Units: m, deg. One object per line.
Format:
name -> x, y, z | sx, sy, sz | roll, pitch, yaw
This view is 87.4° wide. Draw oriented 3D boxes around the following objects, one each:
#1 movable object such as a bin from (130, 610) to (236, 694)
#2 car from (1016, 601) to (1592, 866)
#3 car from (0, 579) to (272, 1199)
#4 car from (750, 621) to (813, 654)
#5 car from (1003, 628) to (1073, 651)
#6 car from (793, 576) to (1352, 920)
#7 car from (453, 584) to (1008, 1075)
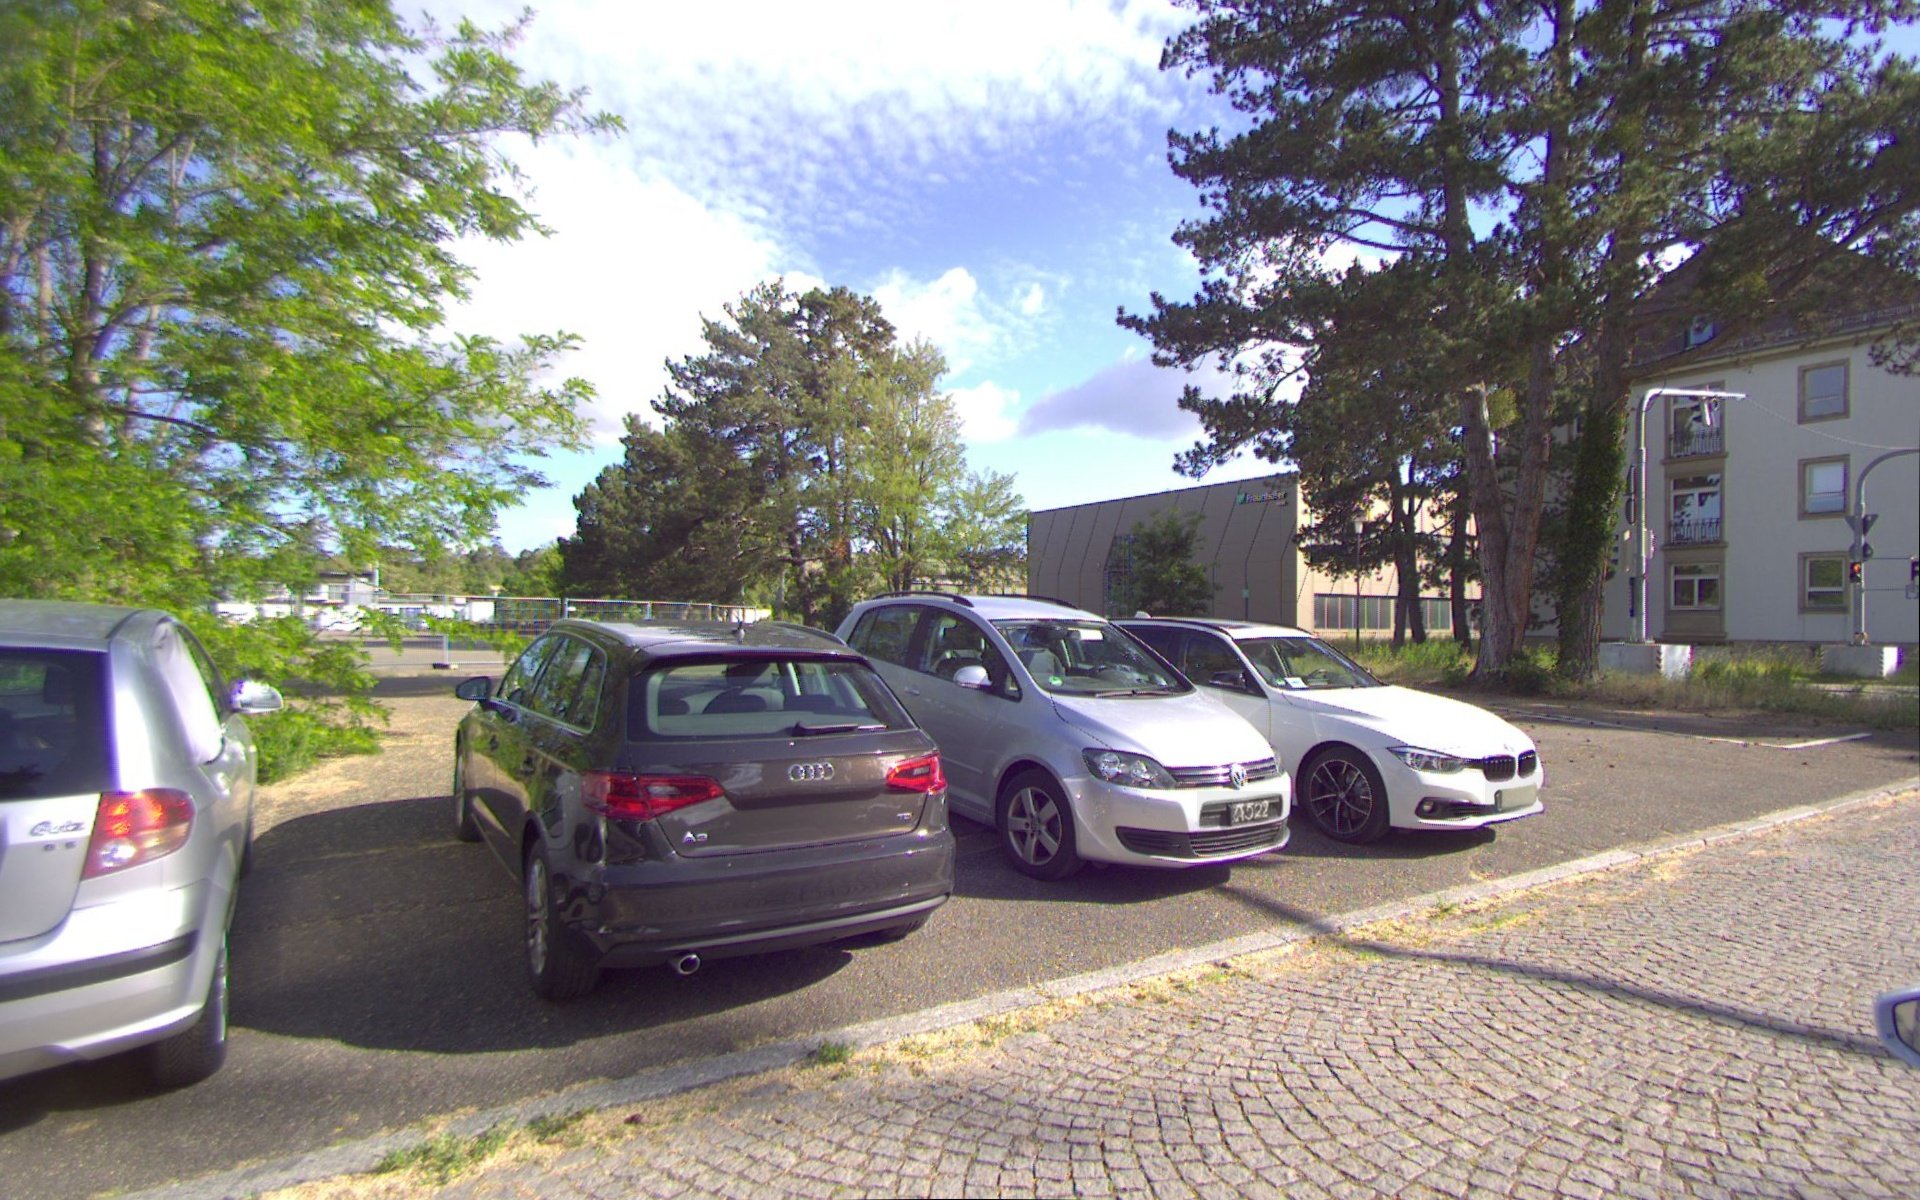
movable object such as a bin -> -11.276, 0.718, 14.659 | 0.987, 1.122, 2.265 | 1, -1, -33
car -> 2.527, 0.837, 8.562 | 1.734, 1.487, 4.512 | 1, 1, -34
car -> -3.645, 0.715, 3.807 | 1.619, 1.490, 3.443 | 1, 2, -33
car -> -8.116, 1.665, 45.448 | 1.726, 1.388, 3.595 | 1, -1, -29
car -> 4.639, 2.350, 59.670 | 4.002, 1.311, 1.480 | 1, -1, -30
car -> 0.483, 0.715, 7.075 | 1.705, 1.648, 3.916 | 1, 1, -35
car -> -1.526, 0.735, 5.284 | 1.669, 1.490, 3.775 | 1, 1, -32
